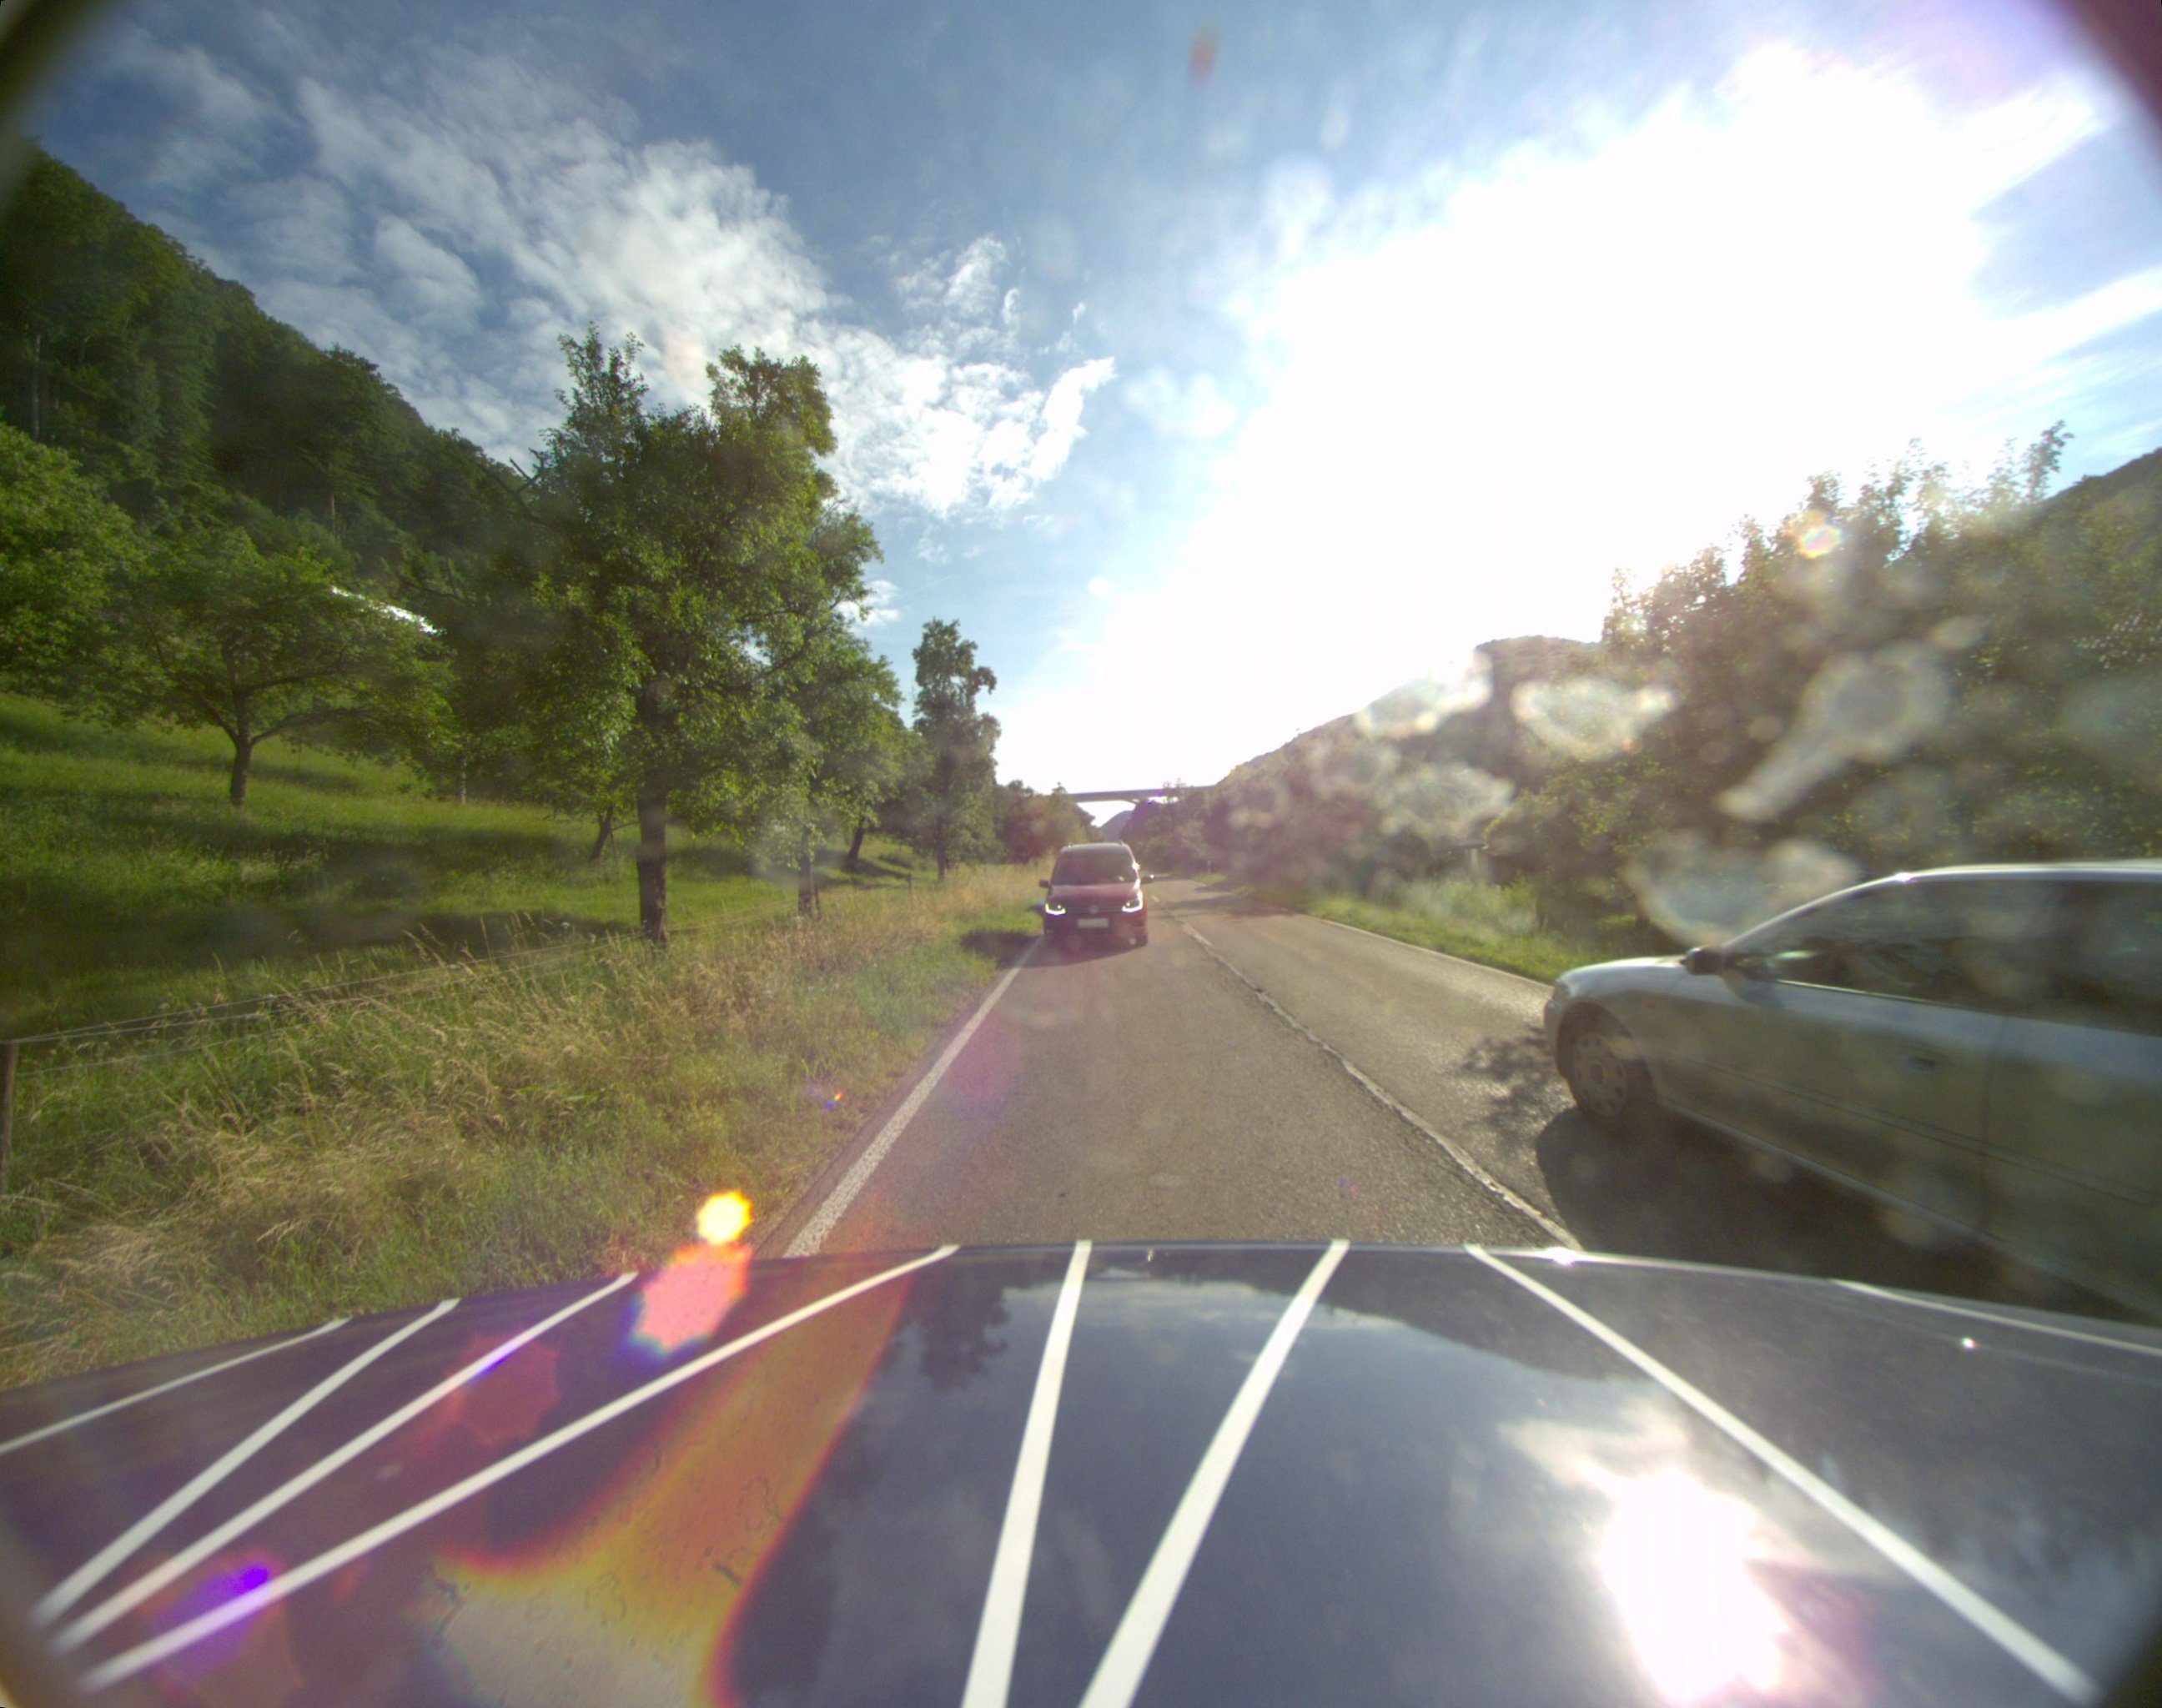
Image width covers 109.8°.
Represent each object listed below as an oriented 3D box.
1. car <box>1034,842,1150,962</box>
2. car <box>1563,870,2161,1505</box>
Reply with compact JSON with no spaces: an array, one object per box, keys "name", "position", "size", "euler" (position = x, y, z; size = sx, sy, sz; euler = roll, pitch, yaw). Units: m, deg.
[{"name":"car","position":[0.176,0.757,13.911],"size":[1.741,1.803,4.000],"euler":[-3,0,0]},{"name":"car","position":[3.391,0.814,2.208],"size":[1.696,1.401,3.663],"euler":[-1,0,1]}]
